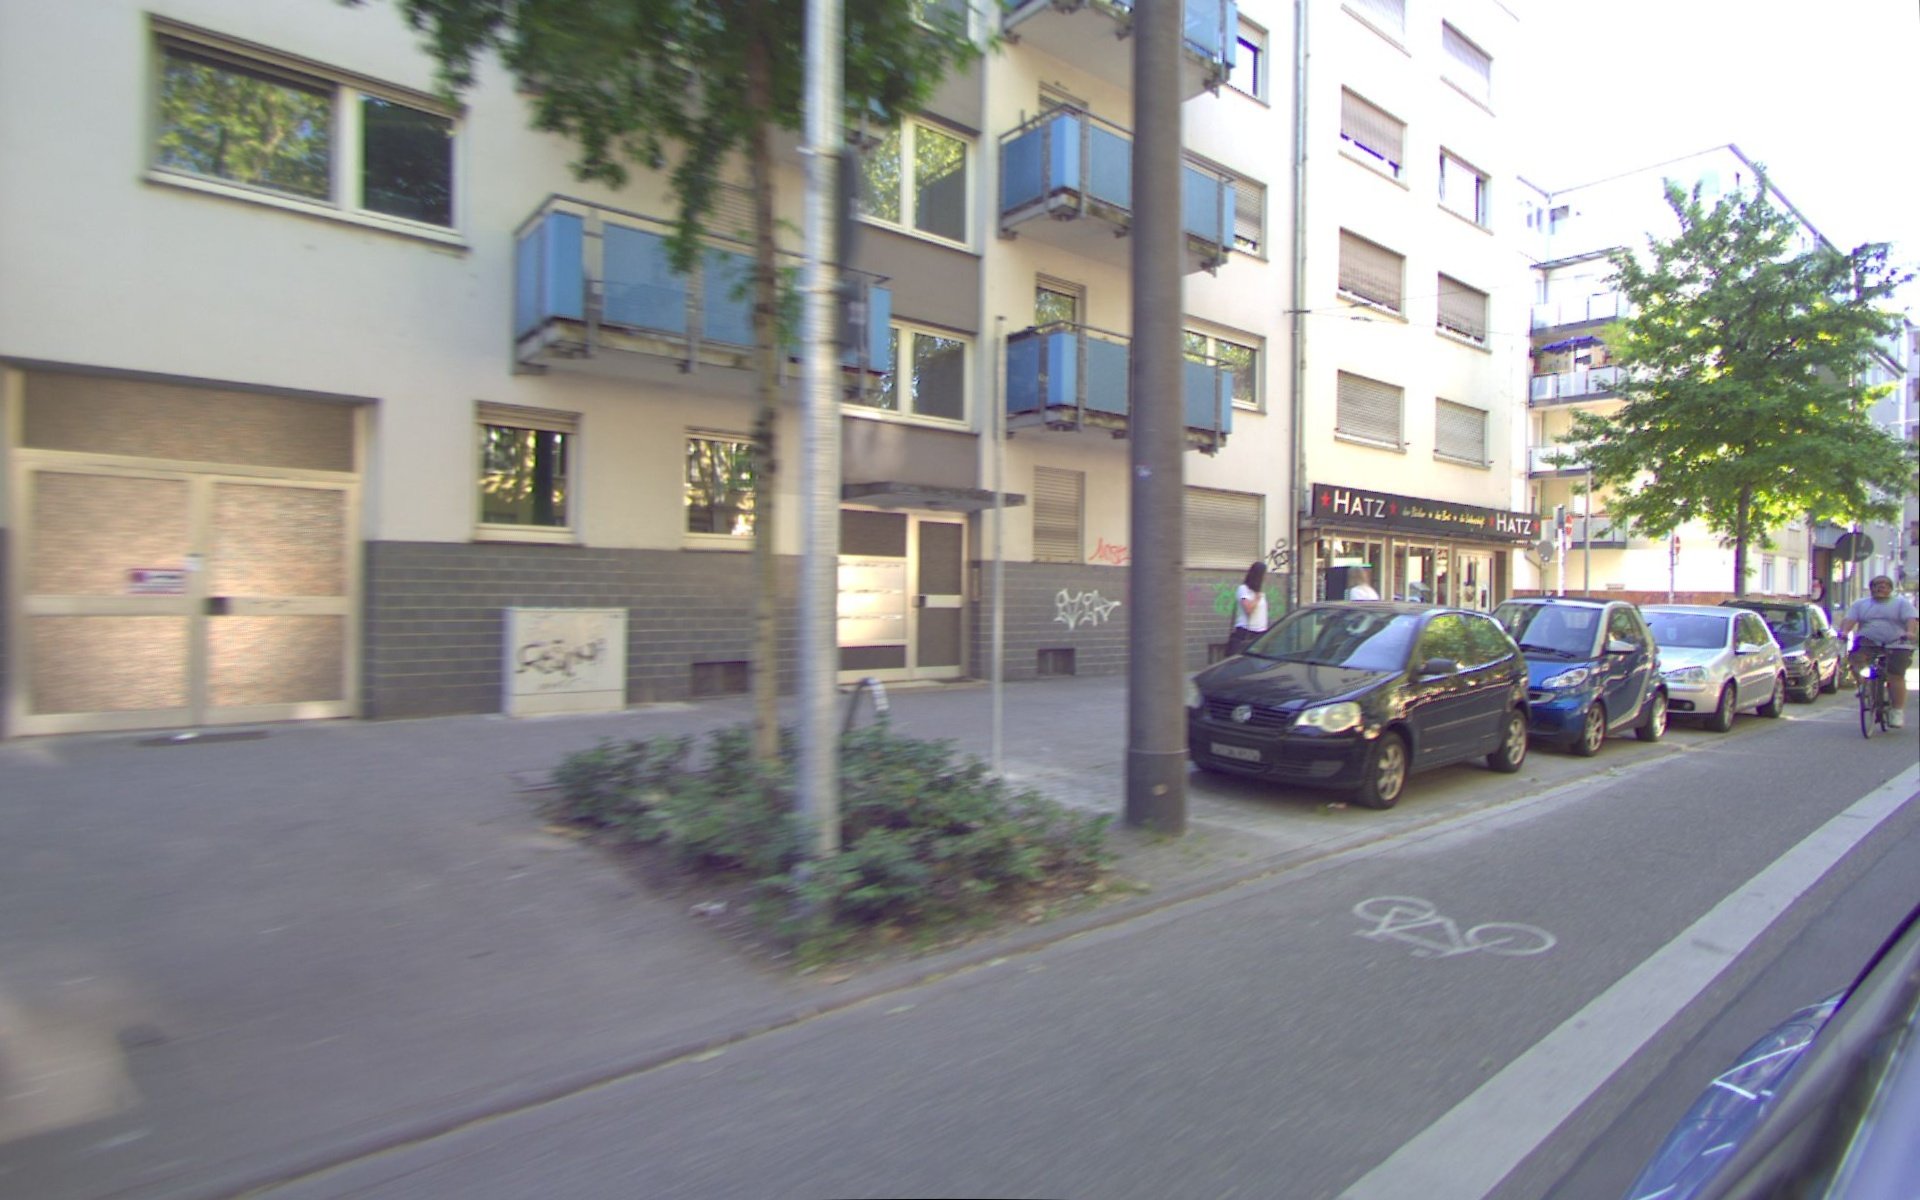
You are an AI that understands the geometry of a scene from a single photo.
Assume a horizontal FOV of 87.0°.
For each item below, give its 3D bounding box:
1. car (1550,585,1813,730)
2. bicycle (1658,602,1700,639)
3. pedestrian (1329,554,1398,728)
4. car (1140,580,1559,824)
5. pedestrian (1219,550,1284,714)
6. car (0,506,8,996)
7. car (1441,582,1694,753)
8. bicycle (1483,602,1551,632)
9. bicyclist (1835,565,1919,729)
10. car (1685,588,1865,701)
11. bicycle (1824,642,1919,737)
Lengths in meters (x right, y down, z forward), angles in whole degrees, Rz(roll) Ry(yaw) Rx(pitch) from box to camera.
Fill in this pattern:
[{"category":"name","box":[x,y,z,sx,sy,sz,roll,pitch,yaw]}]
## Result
[{"category":"car","box":[9.609,0.649,13.375,4.054,1.556,1.791,0,3,-40]},{"category":"bicycle","box":[23.587,0.658,33.193,1.960,1.166,0.616,0,1,-39]},{"category":"pedestrian","box":[4.517,0.436,11.323,0.652,1.875,0.476,1,0,-42]},{"category":"car","box":[3.356,0.649,8.378,3.822,1.500,1.625,0,3,-42]},{"category":"pedestrian","box":[3.427,0.361,11.929,0.653,1.875,0.538,0,0,8]},{"category":"car","box":[-4.355,0.558,1.432,4.252,1.606,1.764,0,4,-40]},{"category":"car","box":[6.620,0.634,10.960,2.829,1.556,1.448,1,2,-40]},{"category":"bicycle","box":[20.246,0.608,36.836,0.595,1.004,2.112,0,2,-35]},{"category":"bicyclist","box":[11.037,0.530,12.032,1.079,1.854,0.769,0,0,-39]},{"category":"car","box":[13.880,0.645,17.147,4.188,1.590,1.722,0,4,-43]},{"category":"bicycle","box":[11.003,1.020,12.015,1.904,0.949,0.790,0,0,-39]}]
